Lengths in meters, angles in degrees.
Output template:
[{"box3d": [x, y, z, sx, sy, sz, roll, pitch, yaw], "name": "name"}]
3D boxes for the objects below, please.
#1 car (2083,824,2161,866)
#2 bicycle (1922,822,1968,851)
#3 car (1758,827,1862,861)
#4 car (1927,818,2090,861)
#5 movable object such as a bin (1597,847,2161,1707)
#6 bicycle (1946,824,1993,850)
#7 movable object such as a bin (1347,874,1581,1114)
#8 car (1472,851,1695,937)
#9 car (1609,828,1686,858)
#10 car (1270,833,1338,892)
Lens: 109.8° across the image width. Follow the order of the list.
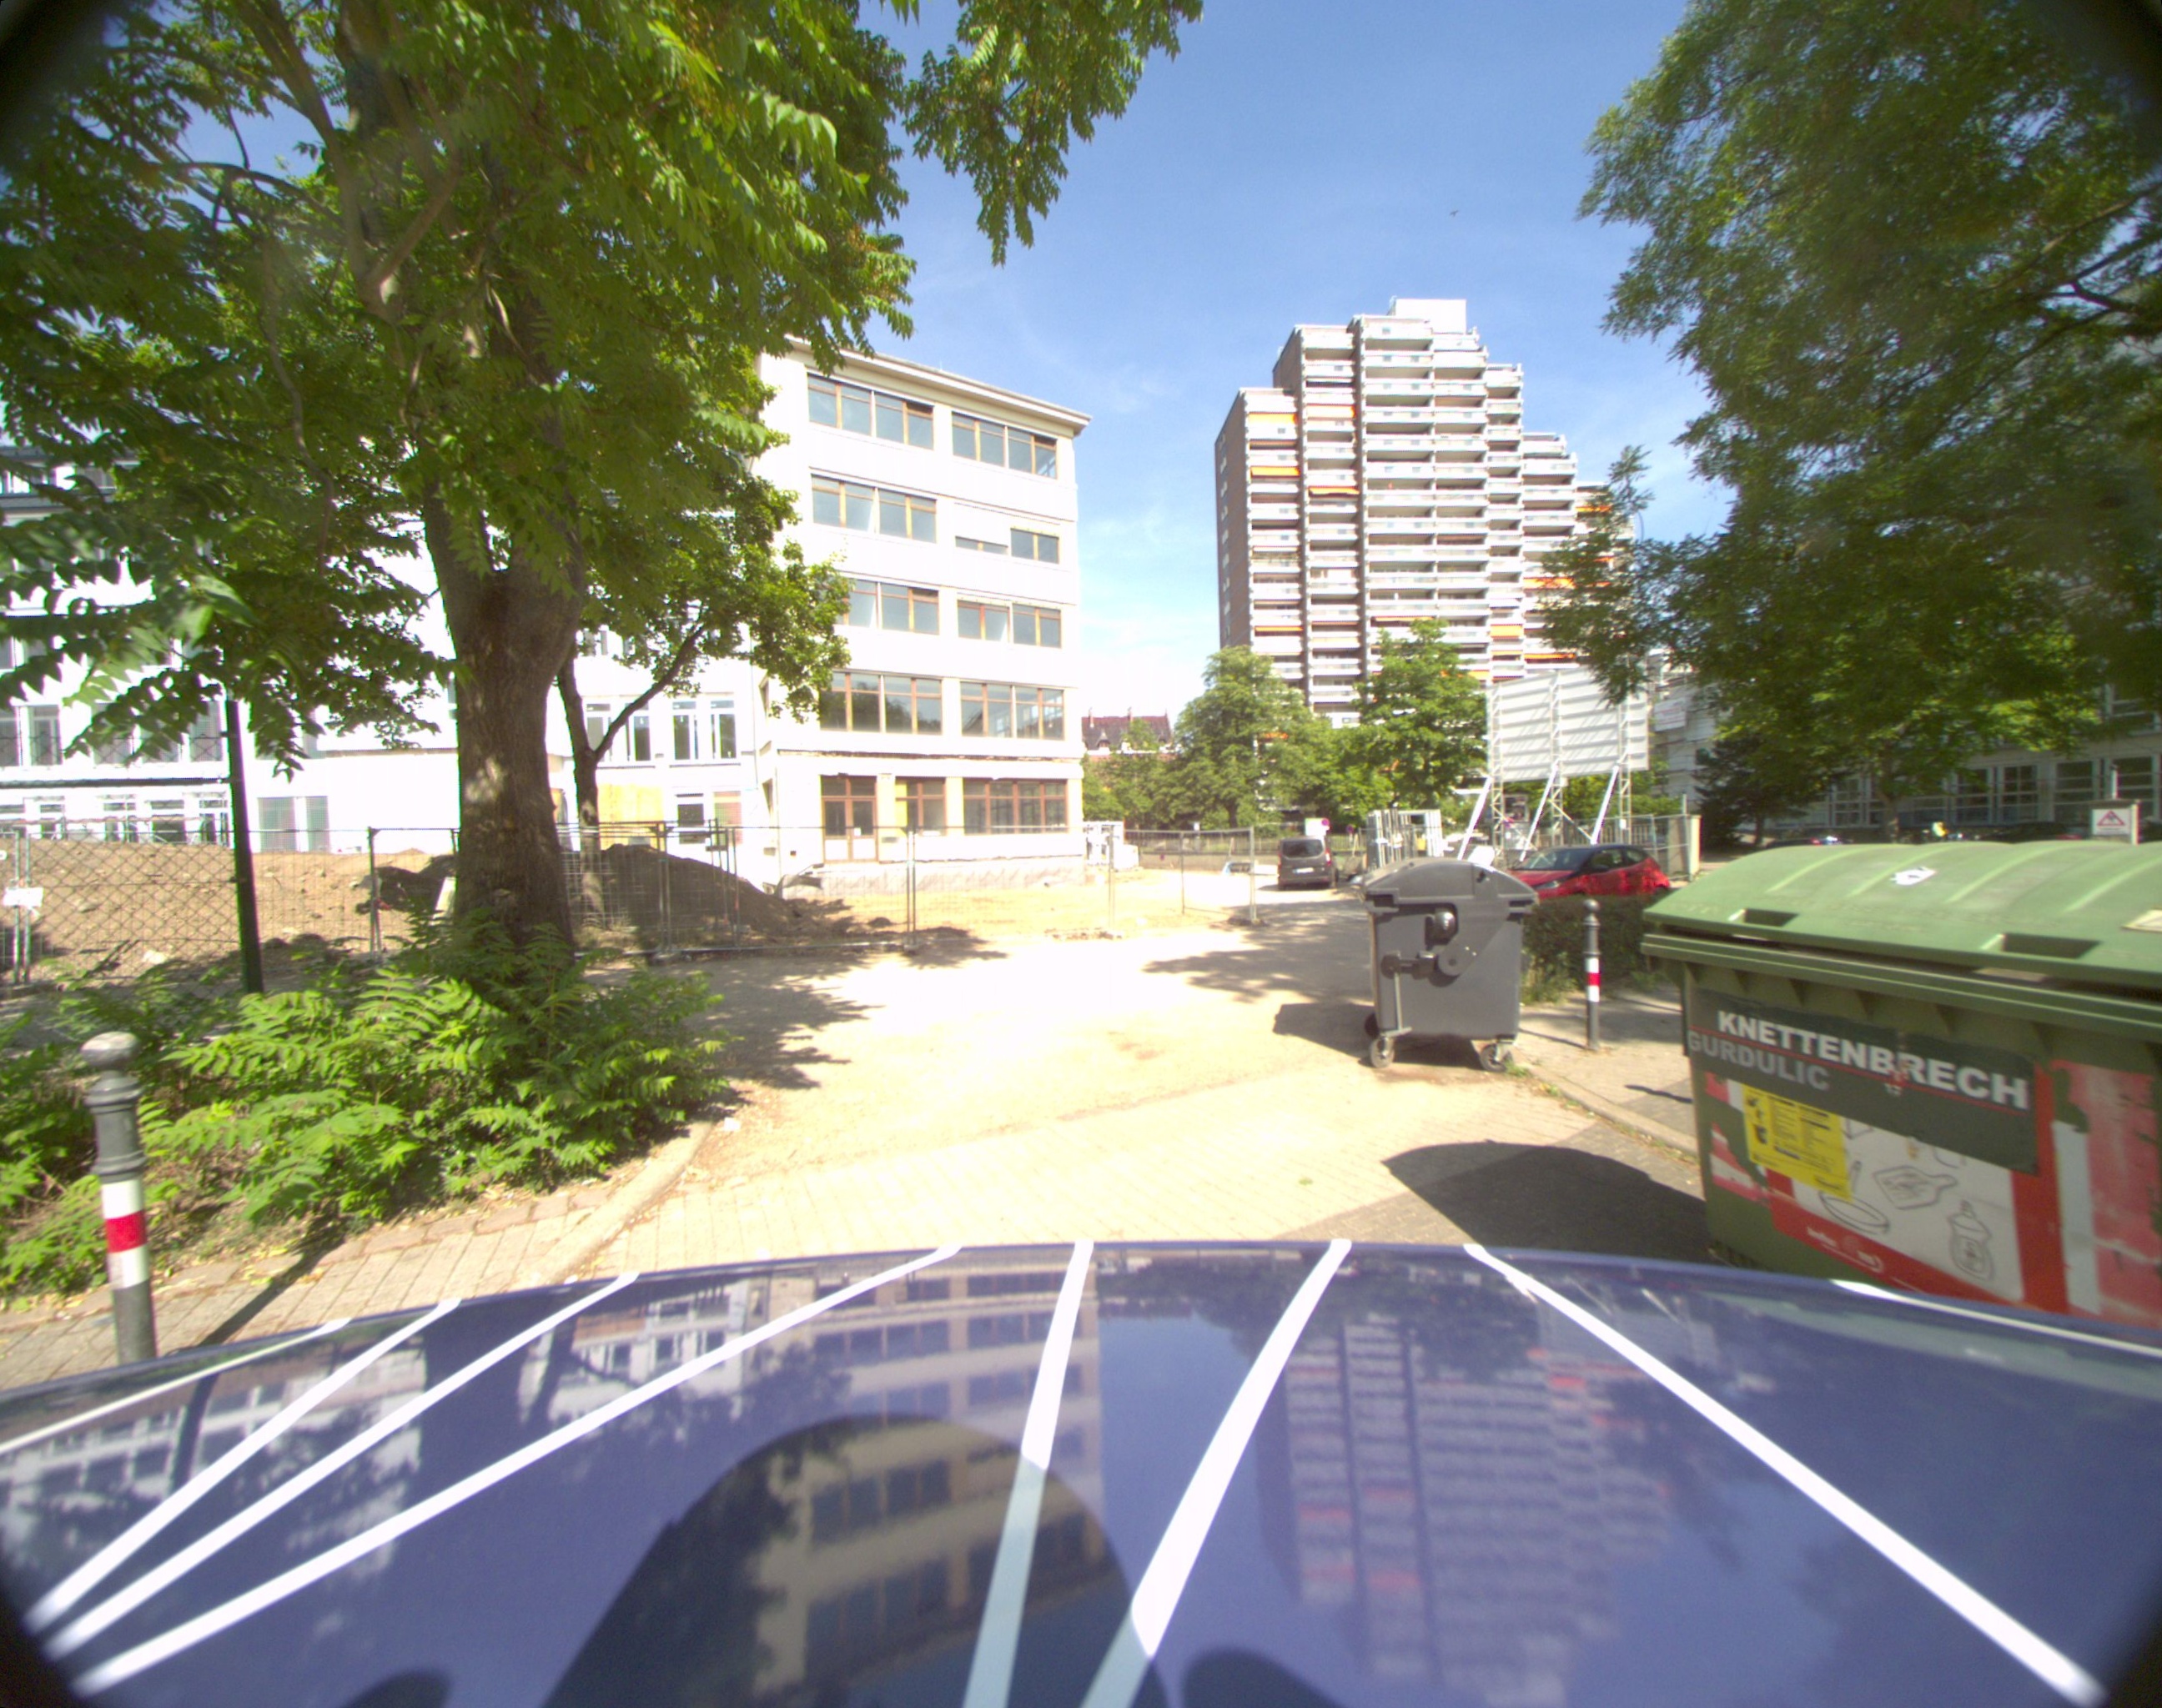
[{"box3d": [38.782, -0.326, 26.814, 1.798, 1.467, 4.188, -1, 1, 12], "name": "car"}, {"box3d": [41.676, -0.846, 36.661, 2.017, 1.370, 0.489, -2, 2, -11], "name": "bicycle"}, {"box3d": [33.710, -0.468, 35.297, 1.651, 1.443, 4.003, -1, 1, 13], "name": "car"}, {"box3d": [36.620, -0.580, 30.216, 1.805, 1.556, 4.394, -1, 1, 13], "name": "car"}, {"box3d": [2.341, 0.743, 1.823, 1.248, 1.473, 1.338, -2, 2, -8], "name": "movable object such as a bin"}, {"box3d": [41.653, -0.794, 35.624, 2.017, 1.193, 0.489, -2, 2, -11], "name": "bicycle"}, {"box3d": [2.616, 0.881, 5.442, 1.246, 1.389, 1.405, -1, 2, 16], "name": "movable object such as a bin"}, {"box3d": [9.692, 0.677, 14.620, 4.180, 1.404, 1.659, -1, 1, -26], "name": "car"}, {"box3d": [30.421, -0.618, 40.921, 1.839, 1.402, 4.150, -3, 2, 14], "name": "car"}, {"box3d": [7.773, 0.228, 26.231, 1.918, 1.770, 4.318, -3, 1, 20], "name": "car"}]
